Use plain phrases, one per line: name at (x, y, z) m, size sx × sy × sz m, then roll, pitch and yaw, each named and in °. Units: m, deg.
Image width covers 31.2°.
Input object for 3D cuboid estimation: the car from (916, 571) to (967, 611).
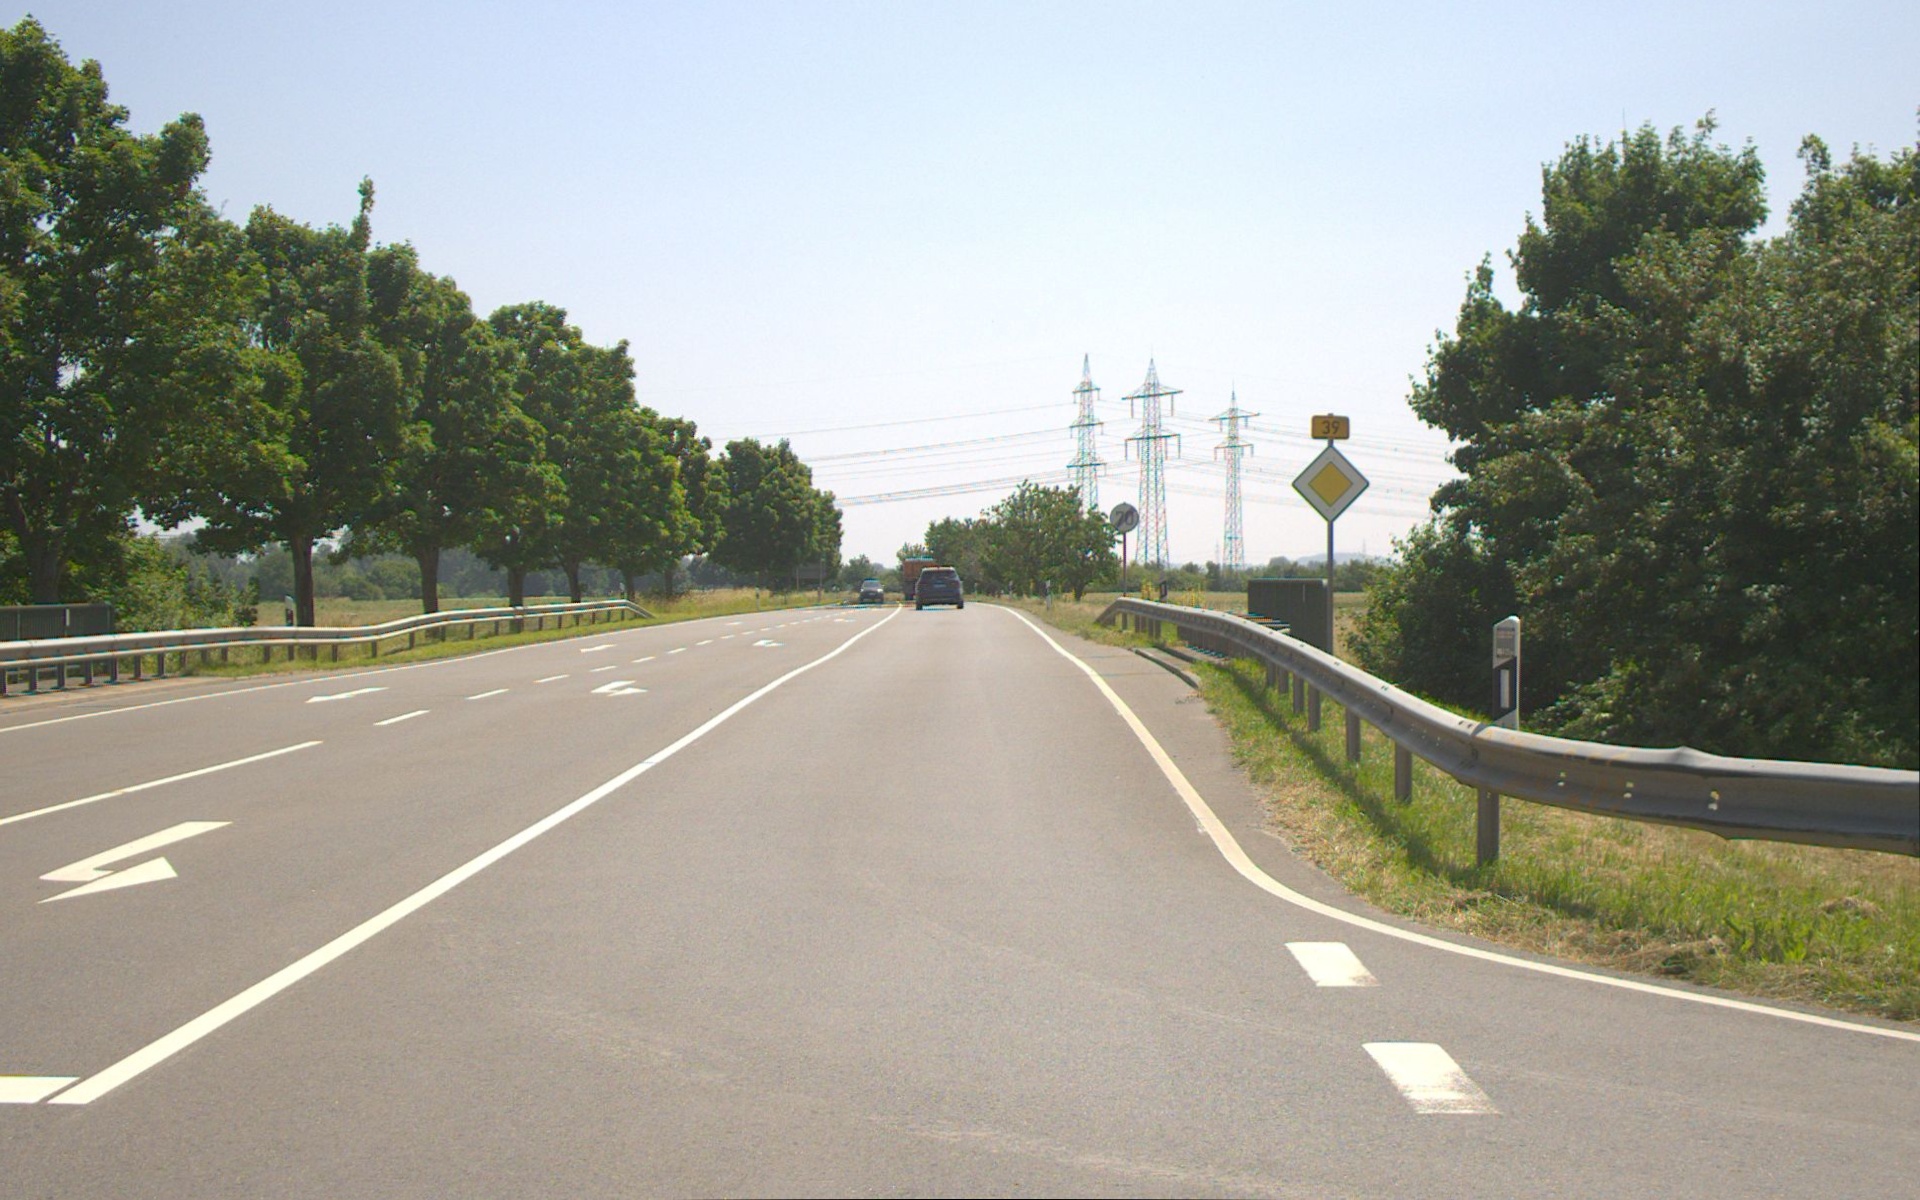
car at (-0.740, -0.364, 137.044) m, size 1.884 × 1.513 × 4.040 m, roll 2°, pitch 0°, yaw -2°
